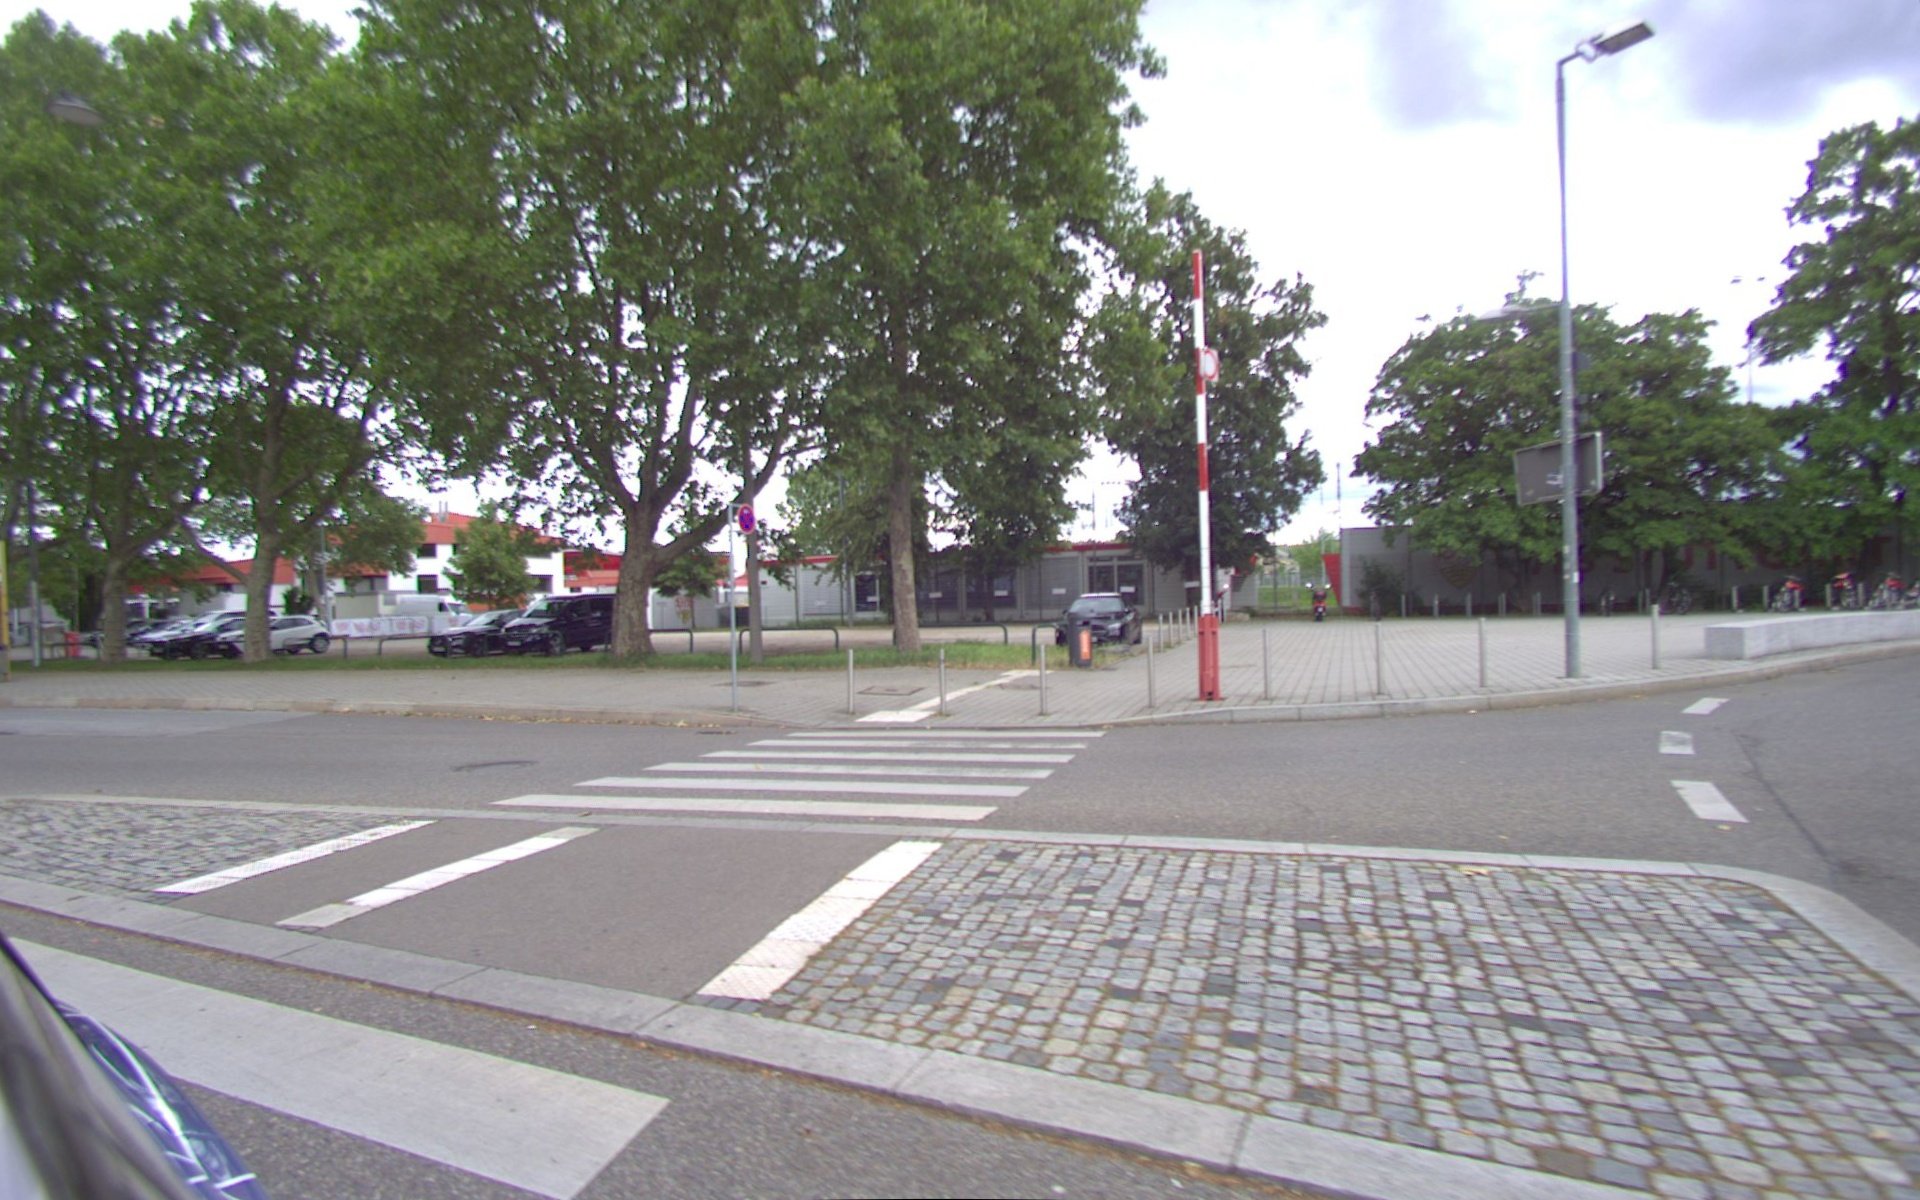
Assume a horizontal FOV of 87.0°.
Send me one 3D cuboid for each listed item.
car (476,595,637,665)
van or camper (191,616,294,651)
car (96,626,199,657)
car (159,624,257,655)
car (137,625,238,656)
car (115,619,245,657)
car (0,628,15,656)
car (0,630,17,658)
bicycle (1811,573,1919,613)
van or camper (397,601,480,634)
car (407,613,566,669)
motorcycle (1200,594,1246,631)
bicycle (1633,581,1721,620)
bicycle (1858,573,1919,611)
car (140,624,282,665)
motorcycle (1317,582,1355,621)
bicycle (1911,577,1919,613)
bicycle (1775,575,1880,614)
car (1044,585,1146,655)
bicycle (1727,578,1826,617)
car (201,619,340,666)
[{"bbox_3d":[-13.049,0.918,33.070,2.249,2.041,4.594,-2,0,24],"label":"car"},{"bbox_3d":[-40.529,1.853,57.275,2.116,1.722,4.305,-2,0,21],"label":"van or camper"},{"bbox_3d":[-47.472,2.383,59.263,1.945,1.560,4.305,-2,0,21],"label":"car"},{"bbox_3d":[-42.876,2.229,57.816,1.777,1.560,4.203,-2,0,20],"label":"car"},{"bbox_3d":[-44.900,2.338,58.927,1.945,1.560,4.305,-2,0,21],"label":"car"},{"bbox_3d":[-38.117,1.826,49.528,4.901,1.563,2.103,-2,0,-41],"label":"car"},{"bbox_3d":[-67.725,2.976,68.852,2.285,1.869,4.552,-2,0,27],"label":"car"},{"bbox_3d":[-65.825,3.005,66.907,2.285,1.869,4.552,-2,0,27],"label":"car"},{"bbox_3d":[27.130,-0.219,30.375,0.764,1.105,3.186,-2,0,6],"label":"bicycle"},{"bbox_3d":[-35.065,1.174,68.053,5.265,2.029,1.986,-2,0,22],"label":"van or camper"},{"bbox_3d":[-15.815,1.320,34.050,2.096,1.579,4.604,-1,1,24],"label":"car"},{"bbox_3d":[9.625,0.420,36.944,0.769,1.231,3.637,-2,0,28],"label":"motorcycle"},{"bbox_3d":[22.110,-0.009,31.293,0.764,1.105,3.185,-2,1,7],"label":"bicycle"},{"bbox_3d":[28.135,-0.236,29.803,0.764,1.105,3.186,-2,0,6],"label":"bicycle"},{"bbox_3d":[-29.061,1.695,39.404,1.988,1.334,3.972,-2,0,21],"label":"car"},{"bbox_3d":[13.163,0.028,35.352,0.769,1.231,3.637,-2,0,28],"label":"motorcycle"},{"bbox_3d":[28.991,-0.186,28.962,0.764,1.105,3.185,-2,-1,6],"label":"bicycle"},{"bbox_3d":[26.204,-0.175,30.667,0.764,1.105,3.185,-2,1,7],"label":"bicycle"},{"bbox_3d":[3.557,0.485,26.018,2.210,1.617,3.983,-2,-1,13],"label":"car"},{"bbox_3d":[24.870,-0.092,30.913,0.764,1.105,3.185,-2,1,7],"label":"bicycle"},{"bbox_3d":[-26.367,1.592,38.839,1.988,1.534,3.971,-2,0,22],"label":"car"}]
